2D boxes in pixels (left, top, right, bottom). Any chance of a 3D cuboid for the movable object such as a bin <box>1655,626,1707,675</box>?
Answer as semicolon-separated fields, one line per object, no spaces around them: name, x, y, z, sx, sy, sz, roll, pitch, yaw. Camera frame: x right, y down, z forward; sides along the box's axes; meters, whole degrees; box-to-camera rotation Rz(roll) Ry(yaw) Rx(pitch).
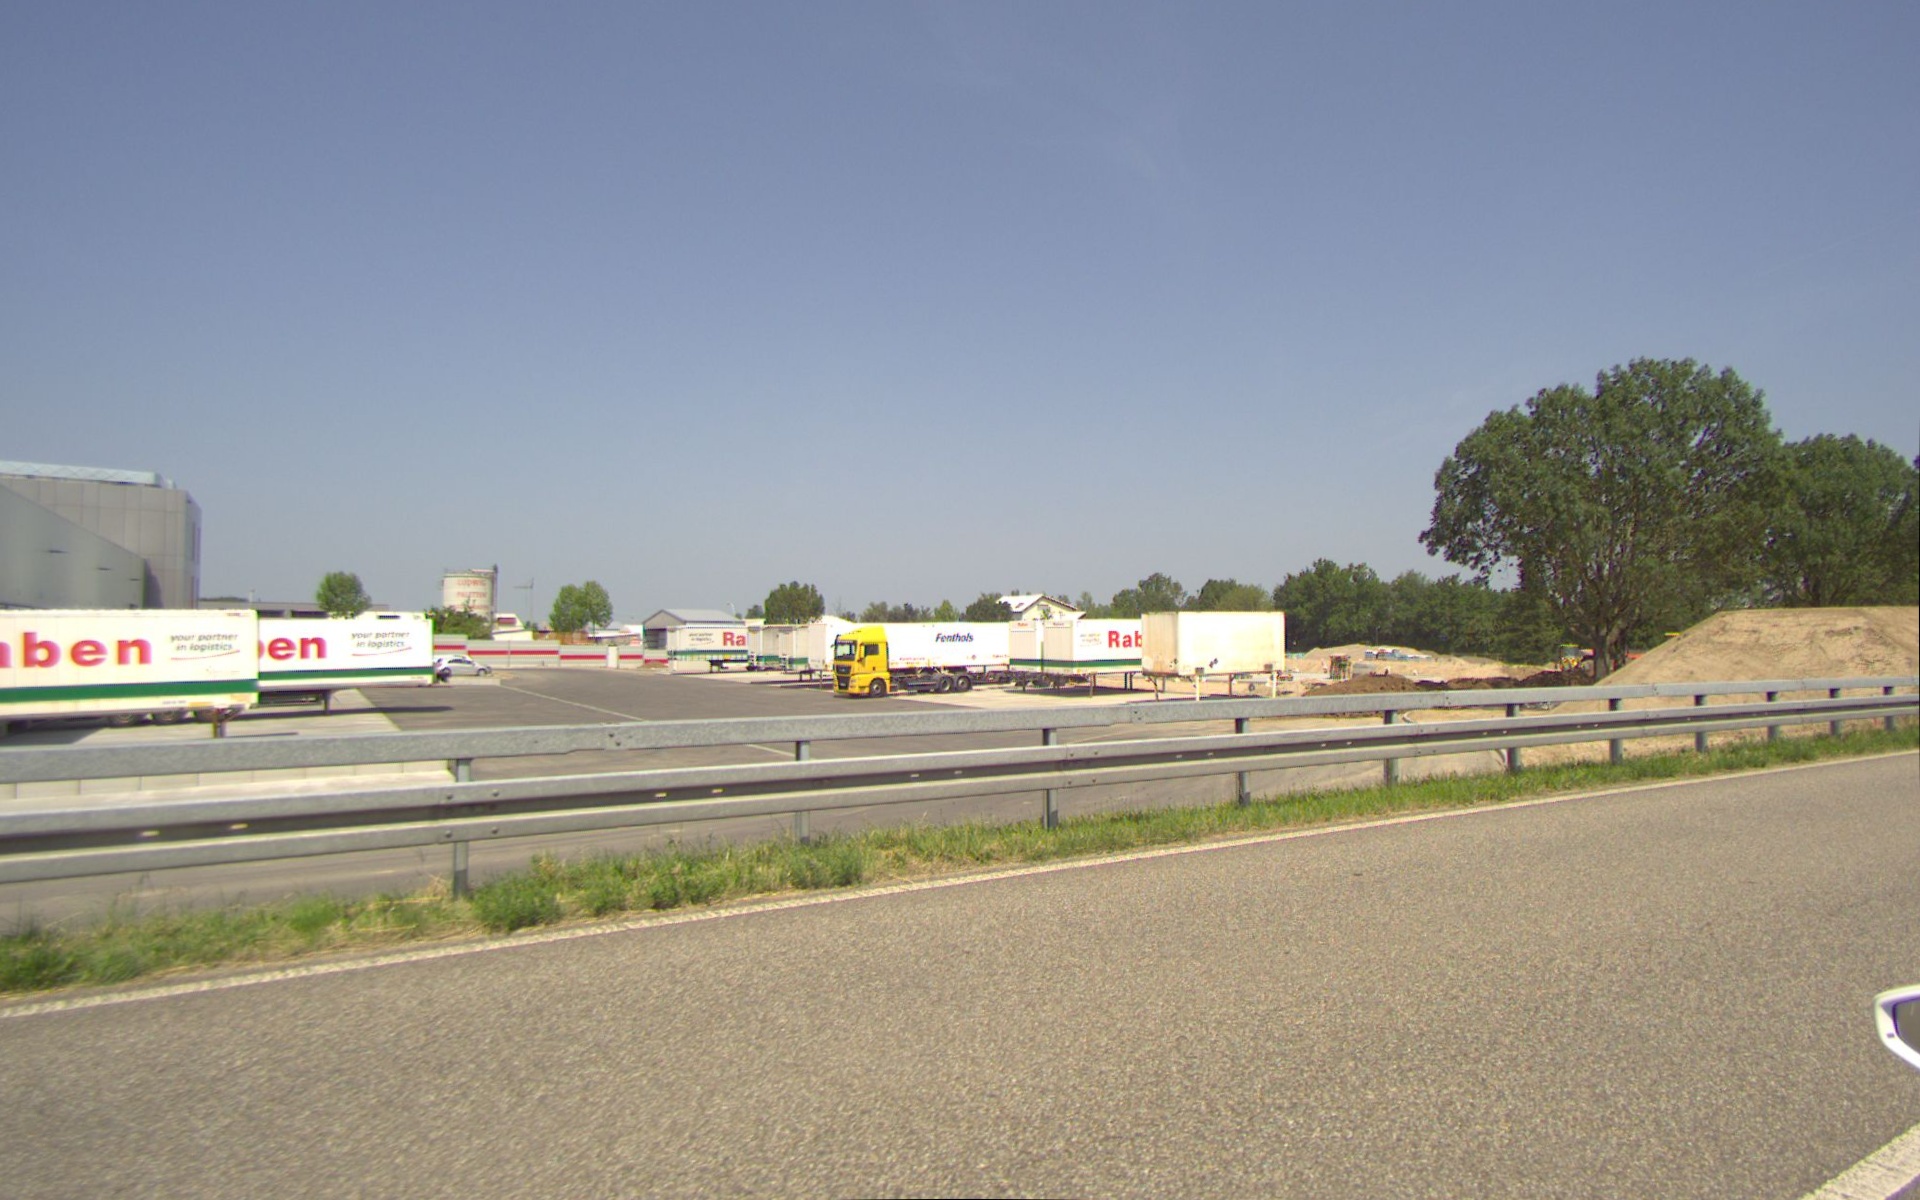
movable object such as a bin;56.019;3.949;78.000;2.591;3.700;5.433;-4;-5;41

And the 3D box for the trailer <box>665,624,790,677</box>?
trailer;-20.445;4.445;89.091;10.757;4.462;2.635;2;-2;-39

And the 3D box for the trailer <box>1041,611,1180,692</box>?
trailer;8.382;2.757;55.464;7.813;4.203;2.728;1;-1;-33

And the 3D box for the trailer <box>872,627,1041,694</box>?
trailer;0.030;3.433;59.375;11.076;3.556;2.349;1;-1;-40

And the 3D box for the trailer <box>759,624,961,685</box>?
trailer;-6.420;3.506;67.140;13.933;3.740;2.639;1;-1;-35

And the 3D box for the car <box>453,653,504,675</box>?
car;-39.516;5.274;82.450;3.532;1.748;1.421;2;-5;-41

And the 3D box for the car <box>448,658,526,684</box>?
car;-35.241;5.272;74.919;5.033;1.832;1.982;1;-4;-34

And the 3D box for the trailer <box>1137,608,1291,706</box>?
trailer;12.321;2.604;48.382;7.870;4.390;2.662;1;-1;-34

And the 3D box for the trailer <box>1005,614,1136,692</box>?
trailer;6.429;2.955;58.003;7.458;4.275;2.838;1;-1;-33

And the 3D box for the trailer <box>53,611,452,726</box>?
trailer;-28.918;2.736;42.190;13.254;4.260;2.646;2;-2;-35

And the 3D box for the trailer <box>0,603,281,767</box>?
trailer;-22.915;2.206;27.057;7.506;4.040;2.646;3;-2;-35

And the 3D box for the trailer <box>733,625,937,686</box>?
trailer;-8.743;3.866;72.920;15.302;3.974;2.639;1;-1;-35

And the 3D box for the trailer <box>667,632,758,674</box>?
trailer;-23.700;5.024;96.521;8.236;3.821;2.454;1;-1;-35

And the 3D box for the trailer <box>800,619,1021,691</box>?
trailer;-2.879;3.417;65.792;15.424;4.317;2.680;1;-1;-35

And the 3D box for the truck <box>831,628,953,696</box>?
truck;-3.725;3.369;56.220;6.797;3.556;2.349;1;-1;-40

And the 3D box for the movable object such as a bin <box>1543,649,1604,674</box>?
movable object such as a bin;51.676;5.200;84.695;1.986;2.039;3.950;2;-5;-43
